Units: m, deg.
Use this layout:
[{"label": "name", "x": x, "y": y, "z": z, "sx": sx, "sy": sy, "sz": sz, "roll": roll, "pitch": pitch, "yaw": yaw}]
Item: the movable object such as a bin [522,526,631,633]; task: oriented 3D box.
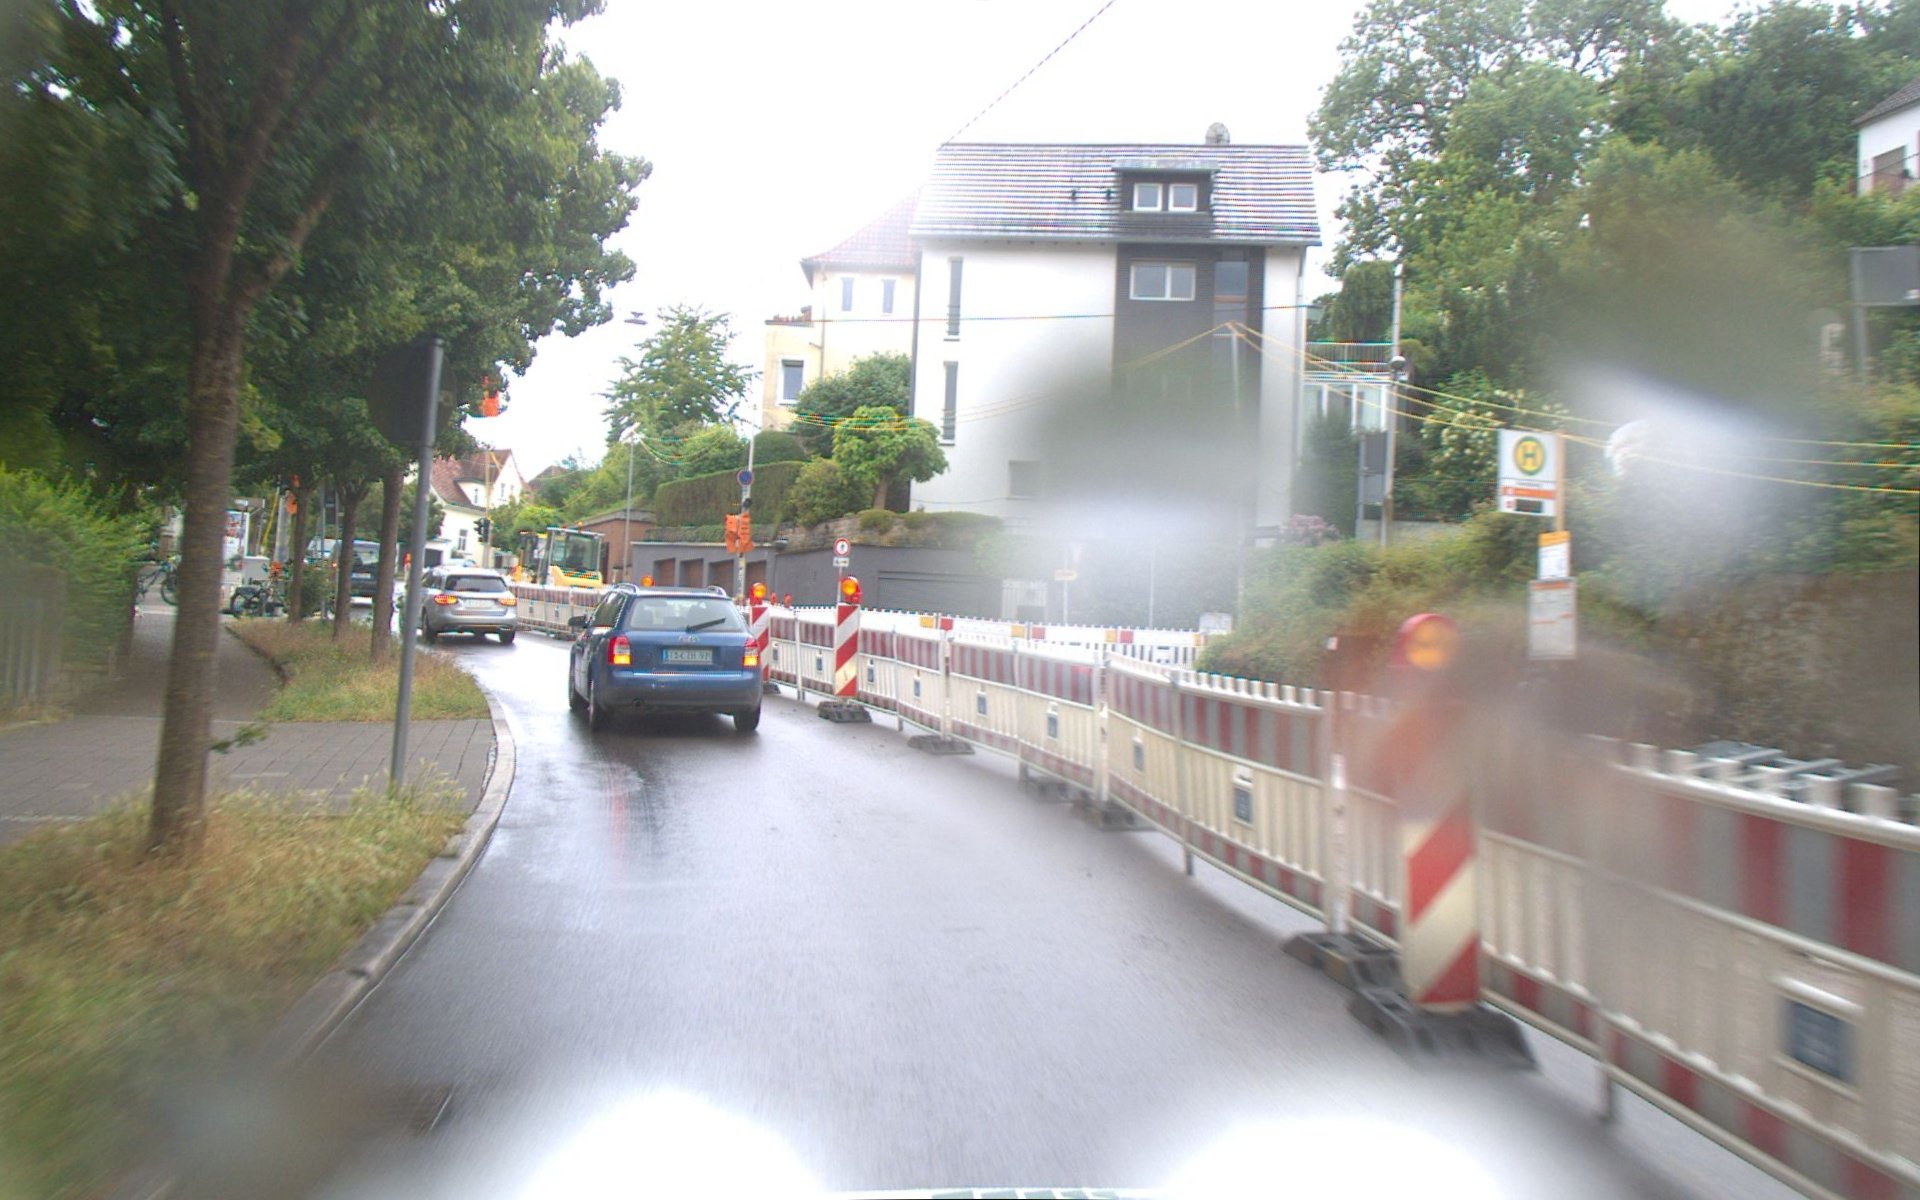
[{"label": "movable object such as a bin", "x": -10.121, "y": -0.583, "z": 43.453, "sx": 1.969, "sy": 2.659, "sz": 3.968, "roll": 1, "pitch": 2, "yaw": -26}]

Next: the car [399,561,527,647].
[{"label": "car", "x": -10.276, "y": 0.089, "z": 34.016, "sx": 1.902, "sy": 1.646, "sz": 4.285, "roll": 1, "pitch": 0, "yaw": -26}]

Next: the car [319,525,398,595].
[{"label": "car", "x": -17.673, "y": -1.120, "z": 48.476, "sx": 1.967, "sy": 1.825, "sz": 3.971, "roll": 0, "pitch": -2, "yaw": -23}]

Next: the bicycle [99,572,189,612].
[{"label": "bicycle", "x": -21.740, "y": -0.202, "z": 44.094, "sx": 2.122, "sy": 1.020, "sz": 0.630, "roll": 1, "pitch": -1, "yaw": -29}]

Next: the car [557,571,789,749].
[{"label": "car", "x": -3.180, "y": 0.561, "z": 17.687, "sx": 1.759, "sy": 1.466, "sz": 3.943, "roll": 4, "pitch": 2, "yaw": -19}]

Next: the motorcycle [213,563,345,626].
[{"label": "motorcycle", "x": -14.836, "y": -0.106, "z": 36.059, "sx": 2.566, "sy": 1.255, "sz": 0.882, "roll": 3, "pitch": -1, "yaw": -27}]
